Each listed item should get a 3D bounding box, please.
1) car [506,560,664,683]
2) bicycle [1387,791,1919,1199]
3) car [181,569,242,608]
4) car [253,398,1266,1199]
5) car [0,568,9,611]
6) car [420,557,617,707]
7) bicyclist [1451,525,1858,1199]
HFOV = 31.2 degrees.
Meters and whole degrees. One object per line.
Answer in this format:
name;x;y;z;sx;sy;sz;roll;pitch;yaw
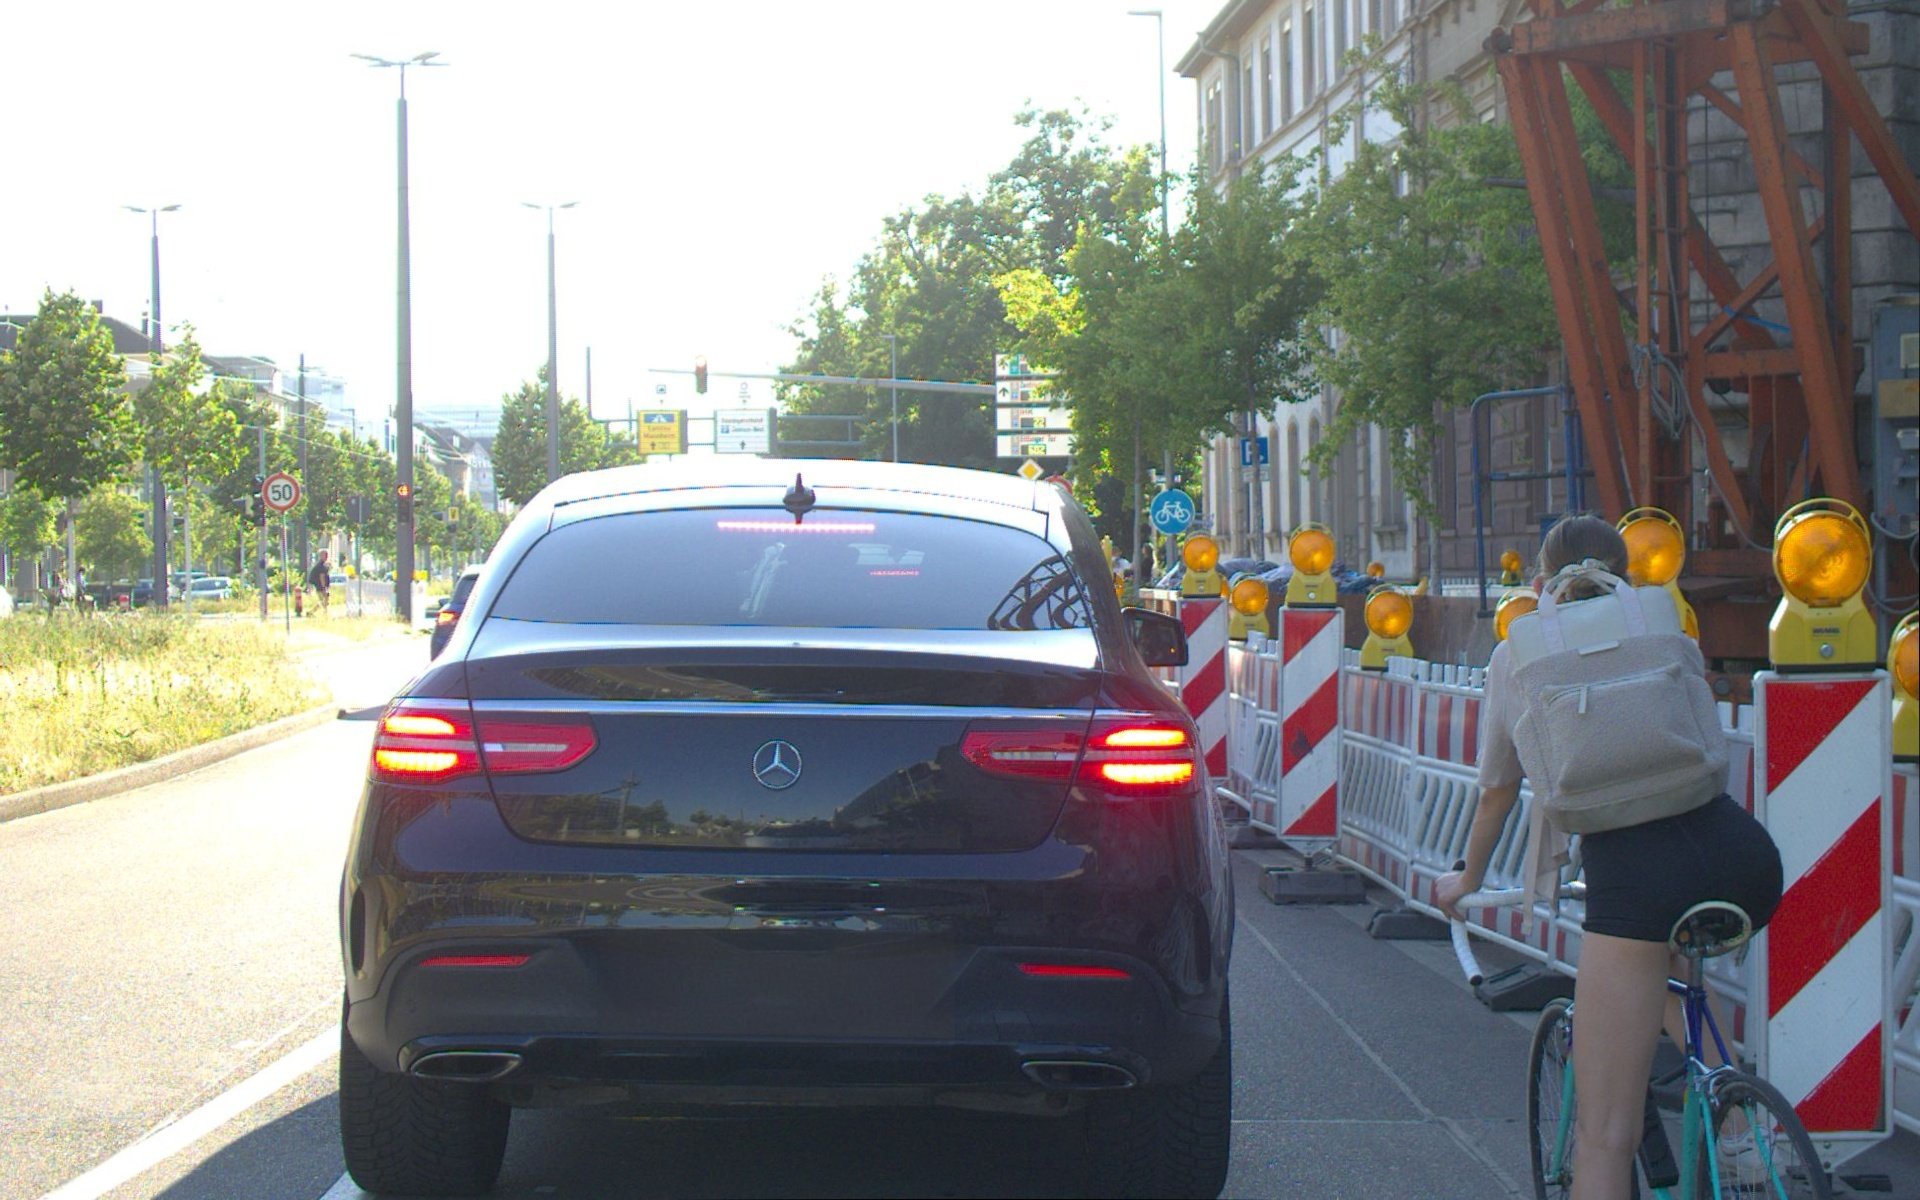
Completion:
car;-4.616;0.237;42.694;1.708;1.437;3.583;1;1;-3
bicycle;1.149;0.913;5.922;0.512;1.048;1.725;1;1;-3
car;-28.651;-0.445;131.719;1.708;1.437;3.583;1;1;-3
car;-0.422;0.475;8.836;1.993;1.766;4.000;1;1;-1
car;-33.457;-0.357;116.302;1.708;1.437;3.583;1;1;-3
car;-4.487;0.296;35.337;1.708;1.437;3.583;1;1;-3
bicyclist;1.164;0.575;5.858;0.522;1.391;0.615;1;0;-3
